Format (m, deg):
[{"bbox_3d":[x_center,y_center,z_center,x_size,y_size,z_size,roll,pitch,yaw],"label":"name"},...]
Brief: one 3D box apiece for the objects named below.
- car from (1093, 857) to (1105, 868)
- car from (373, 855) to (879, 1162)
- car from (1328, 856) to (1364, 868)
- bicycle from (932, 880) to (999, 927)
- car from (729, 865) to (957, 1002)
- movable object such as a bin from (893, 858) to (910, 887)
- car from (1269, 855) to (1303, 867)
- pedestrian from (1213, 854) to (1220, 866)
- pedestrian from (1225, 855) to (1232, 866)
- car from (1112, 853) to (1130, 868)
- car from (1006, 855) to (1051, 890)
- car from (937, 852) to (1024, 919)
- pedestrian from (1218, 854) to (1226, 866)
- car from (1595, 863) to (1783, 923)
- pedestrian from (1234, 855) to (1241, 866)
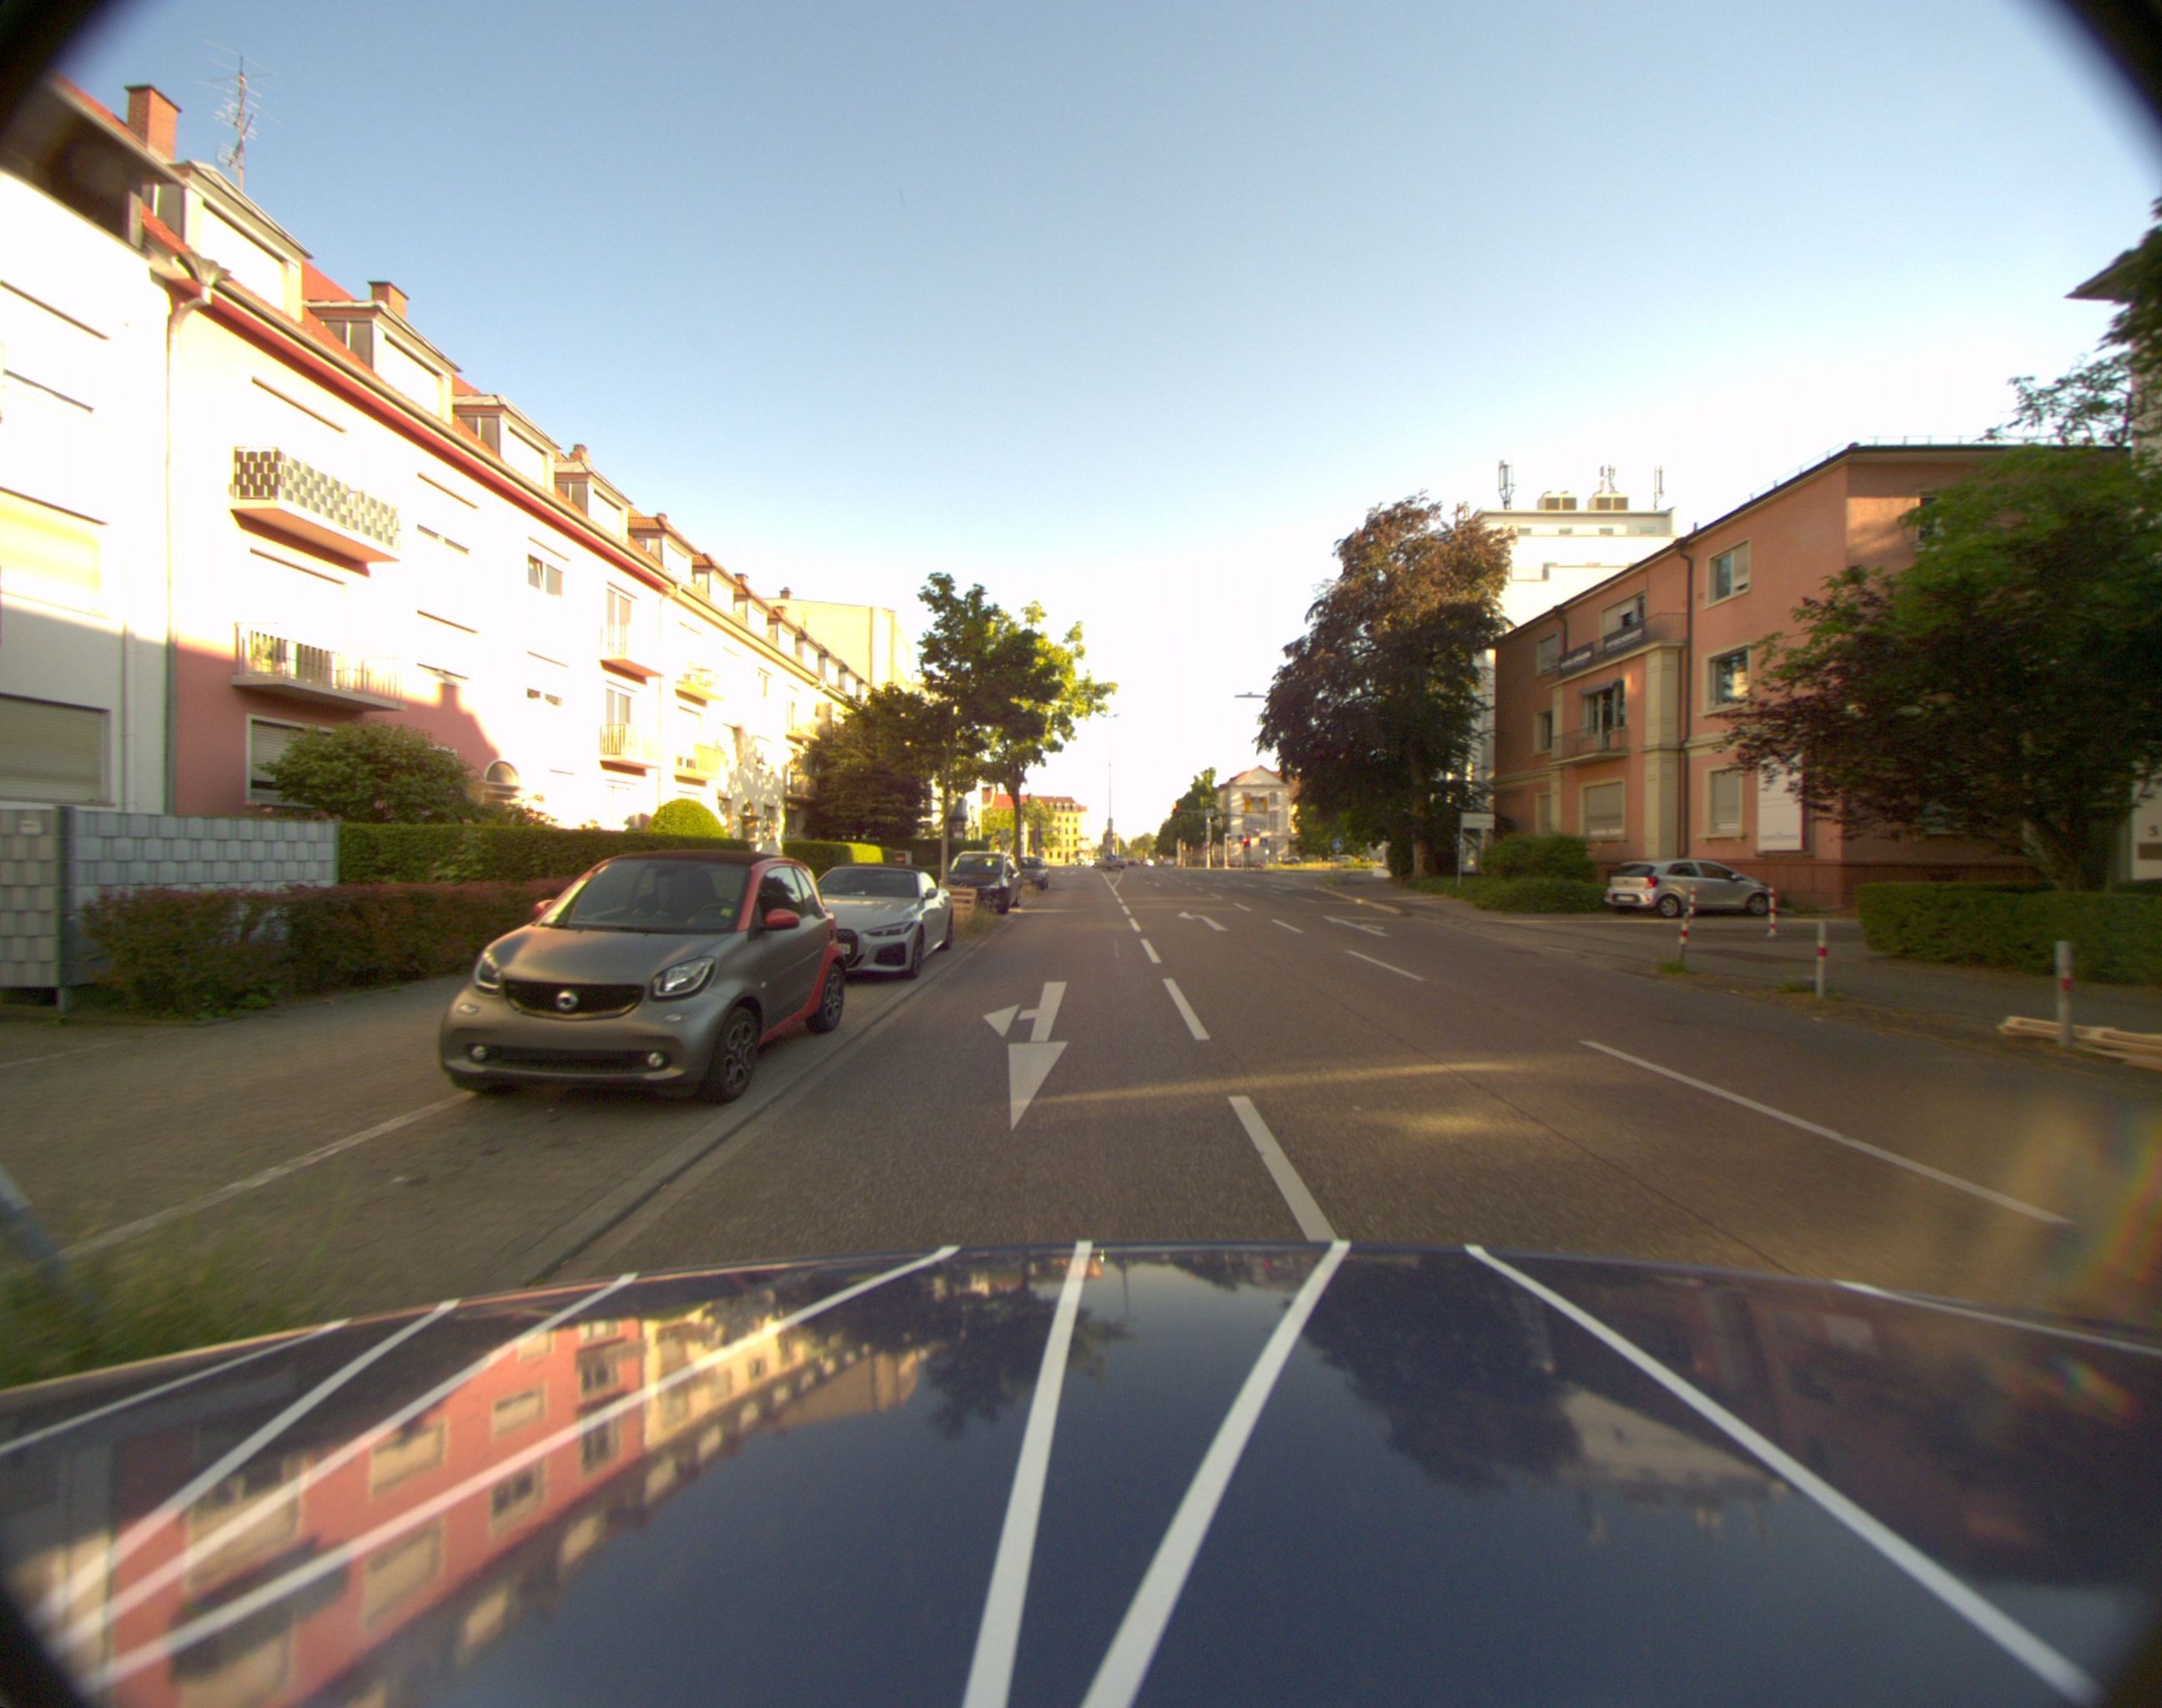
[{"bbox_3d":[2.507,1.237,106.870,1.764,1.489,3.708,0,0,1],"label":"car"},{"bbox_3d":[-2.966,0.848,6.020,1.777,1.633,3.756,0,1,-1],"label":"car"},{"bbox_3d":[32.735,0.969,93.926,3.645,1.437,1.999,0,0,-3],"label":"car"},{"bbox_3d":[-2.643,1.118,17.350,1.482,1.053,0.411,0,0,-12],"label":"bicycle"},{"bbox_3d":[-3.009,0.913,10.774,1.925,1.477,4.745,0,0,-2],"label":"car"},{"bbox_3d":[-7.813,0.790,33.074,0.554,1.232,0.828,0,0,1],"label":"movable object such as a bin"},{"bbox_3d":[25.094,0.831,93.041,3.645,1.437,1.999,0,0,-3],"label":"car"},{"bbox_3d":[20.084,0.898,112.891,0.678,1.698,1.084,0,0,-8],"label":"pedestrian"},{"bbox_3d":[20.958,0.945,107.973,0.621,1.641,0.889,0,0,-8],"label":"pedestrian"},{"bbox_3d":[4.226,0.662,79.261,1.832,1.505,4.606,0,0,3],"label":"car"},{"bbox_3d":[-2.366,0.816,34.964,1.736,1.542,3.646,0,0,1],"label":"car"},{"bbox_3d":[-2.639,0.776,20.845,1.736,1.641,4.291,0,0,1],"label":"car"},{"bbox_3d":[21.008,0.874,113.114,0.821,1.838,1.169,0,0,-8],"label":"pedestrian"},{"bbox_3d":[15.751,0.979,19.810,3.507,1.477,1.815,0,0,-3],"label":"car"},{"bbox_3d":[22.279,0.943,107.978,0.678,1.641,0.882,0,0,-8],"label":"pedestrian"}]
